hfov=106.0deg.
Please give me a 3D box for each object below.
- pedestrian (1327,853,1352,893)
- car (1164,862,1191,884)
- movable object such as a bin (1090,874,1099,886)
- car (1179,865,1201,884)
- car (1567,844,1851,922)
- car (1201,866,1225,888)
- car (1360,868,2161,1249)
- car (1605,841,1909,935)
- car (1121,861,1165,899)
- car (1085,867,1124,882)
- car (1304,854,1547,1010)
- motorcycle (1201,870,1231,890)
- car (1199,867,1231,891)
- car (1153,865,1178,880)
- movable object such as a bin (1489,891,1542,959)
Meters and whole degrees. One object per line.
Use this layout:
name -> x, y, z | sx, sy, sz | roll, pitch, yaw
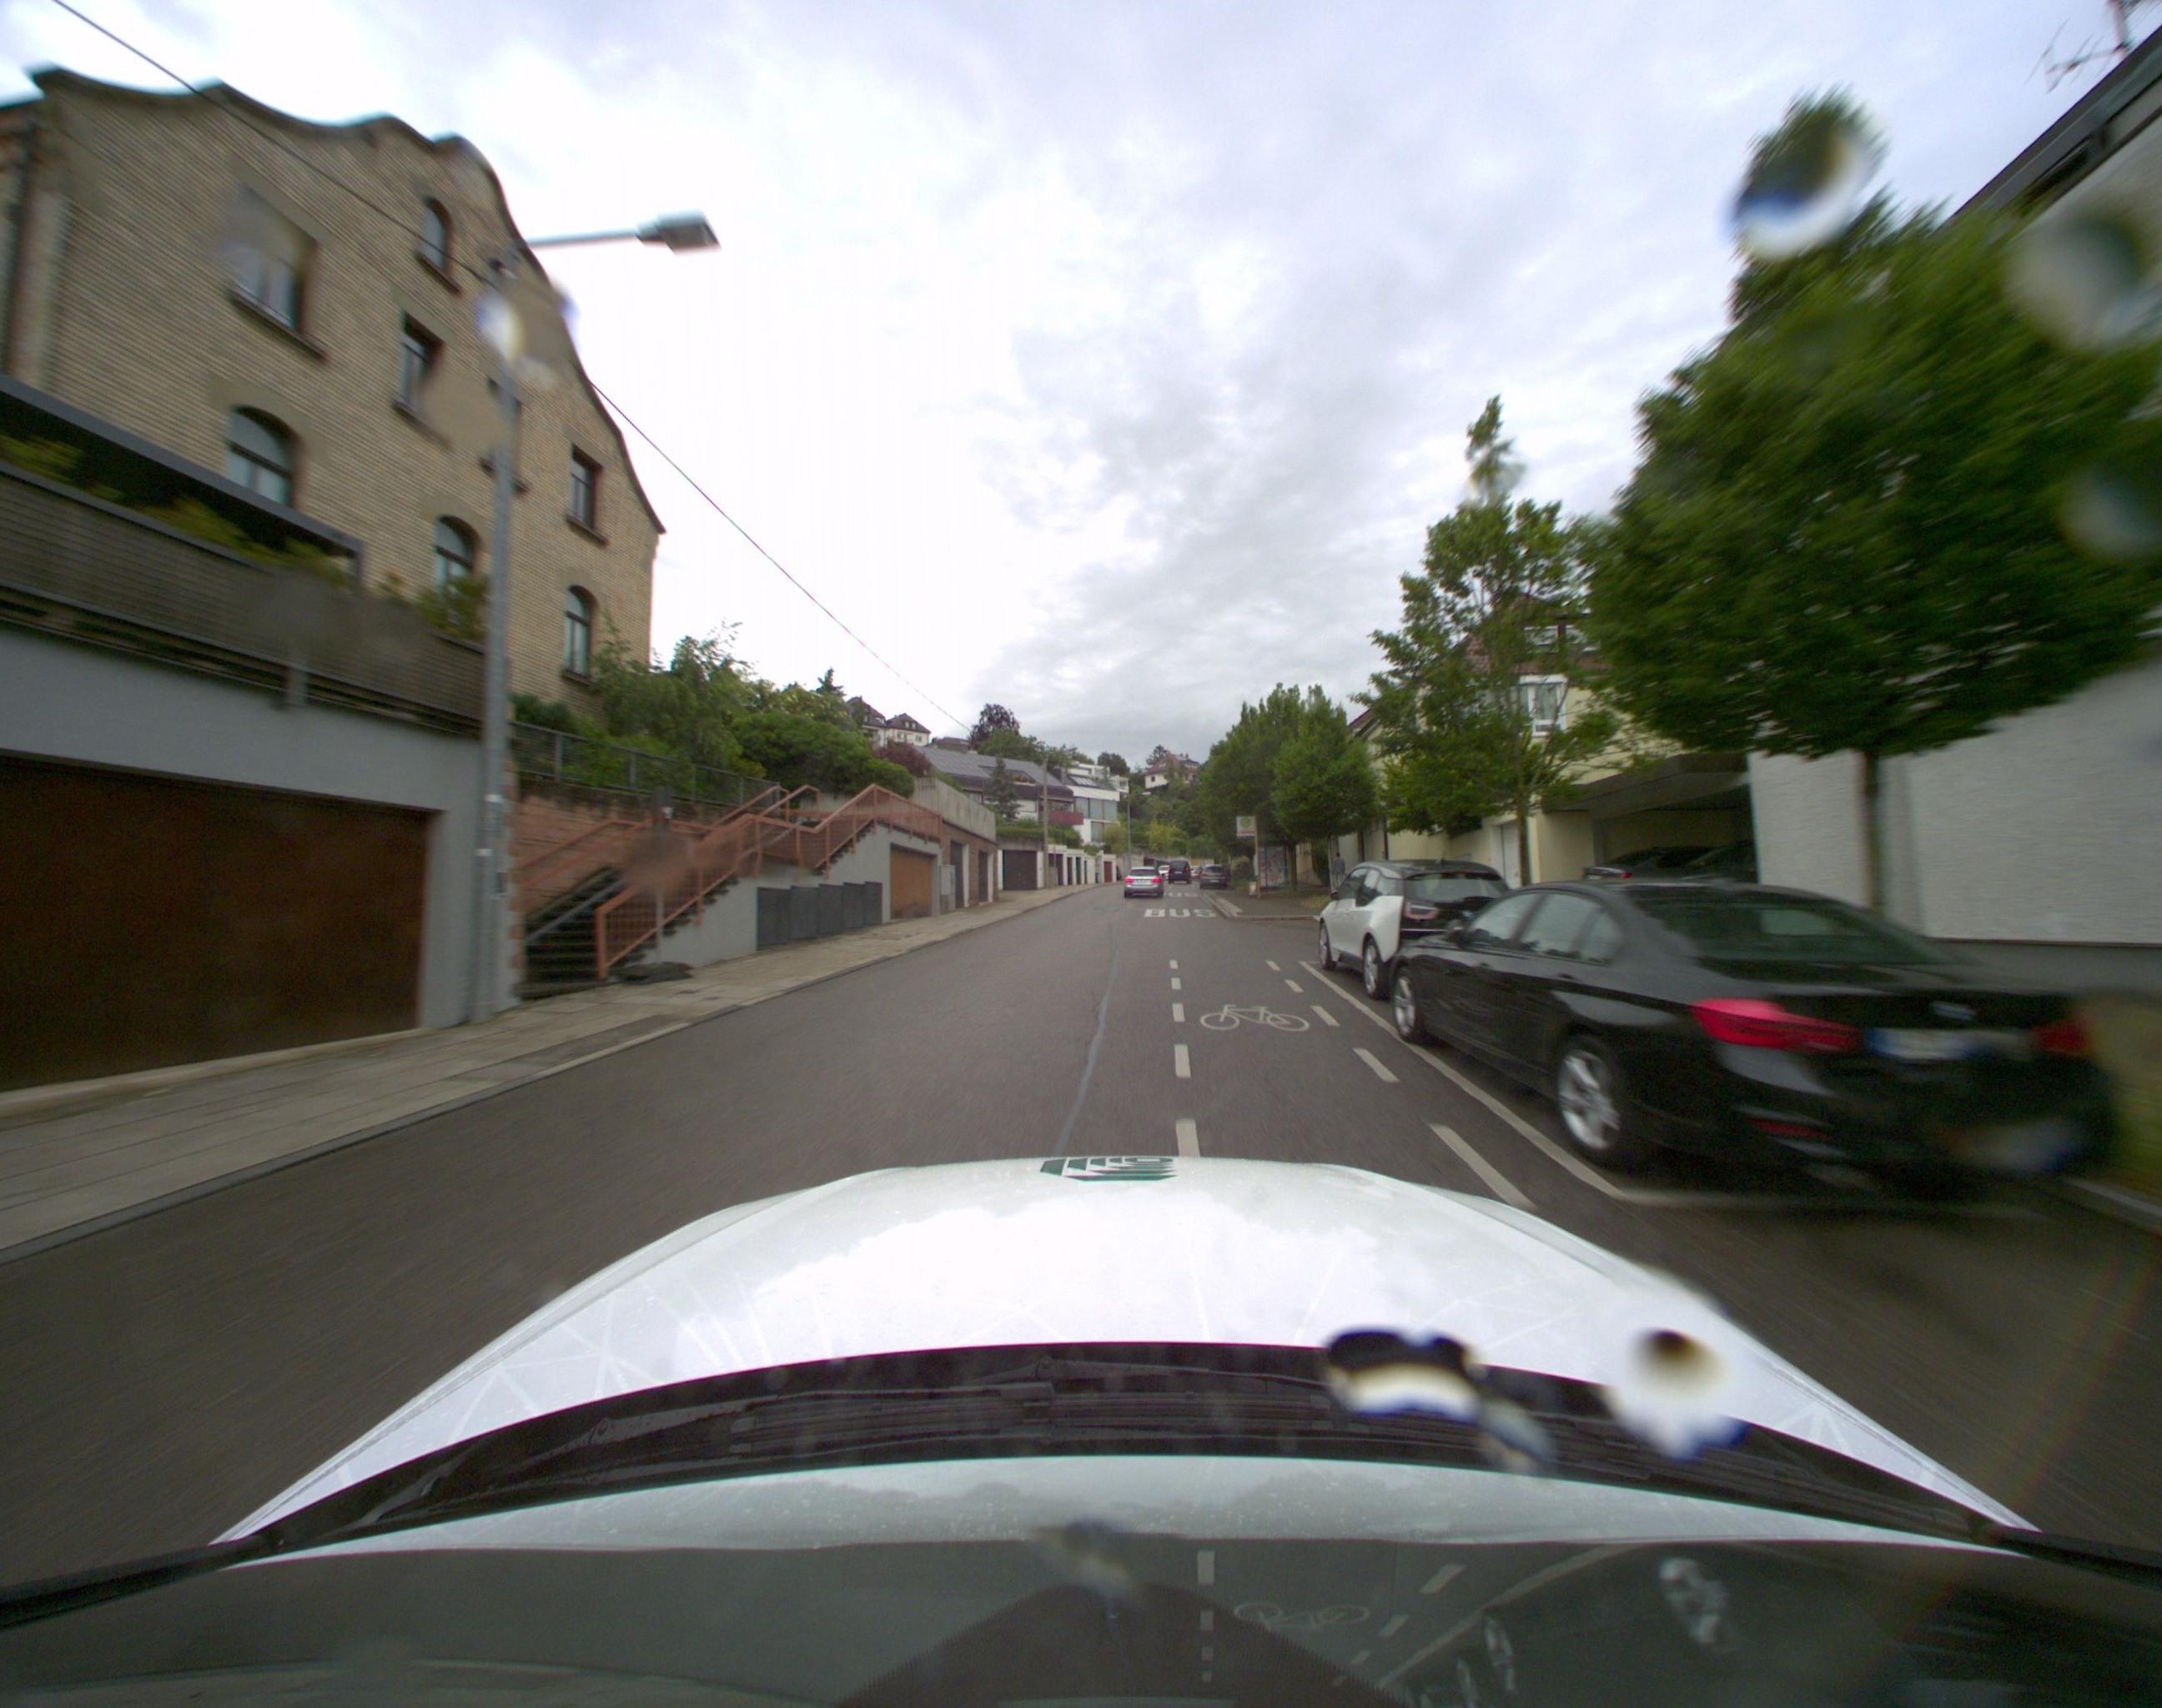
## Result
pedestrian -> 11.522, 0.850, 36.325 | 0.828, 1.686, 1.047 | -4, -1, 7
car -> 7.596, 1.481, 64.179 | 1.983, 1.708, 4.007 | 0, -1, 6
movable object such as a bin -> 1.173, 2.261, 70.886 | 0.650, 0.963, 0.537 | 0, -1, -44
car -> 10.541, 1.978, 78.637 | 1.982, 1.708, 4.008 | -1, -1, 8
car -> 12.567, 0.557, 16.557 | 4.275, 1.480, 1.834 | 0, 0, 6
car -> 9.374, 1.620, 57.698 | 1.646, 1.489, 4.011 | 1, -1, 10
car -> 3.519, 0.833, 5.622 | 1.771, 1.439, 4.885 | 0, -1, 3
car -> 11.535, 0.572, 14.139 | 3.681, 1.507, 1.785 | -1, -1, 6
car -> 2.930, 1.231, 39.119 | 2.017, 1.708, 4.218 | 0, -1, 3
car -> 2.374, 2.062, 82.727 | 1.777, 1.478, 3.884 | 1, 0, -42
car -> 4.179, 0.842, 10.620 | 1.721, 1.608, 4.124 | 1, -1, 5
motorcycle -> 9.071, 1.754, 54.876 | 1.904, 1.330, 0.788 | 1, -1, 4
car -> 8.475, 1.541, 51.662 | 1.867, 1.416, 4.478 | 0, -1, 9
car -> 8.743, 1.912, 83.711 | 1.613, 1.516, 3.851 | -2, -1, 20
movable object such as a bin -> 6.646, 1.076, 12.482 | 0.482, 0.974, 0.606 | -5, -2, 12
